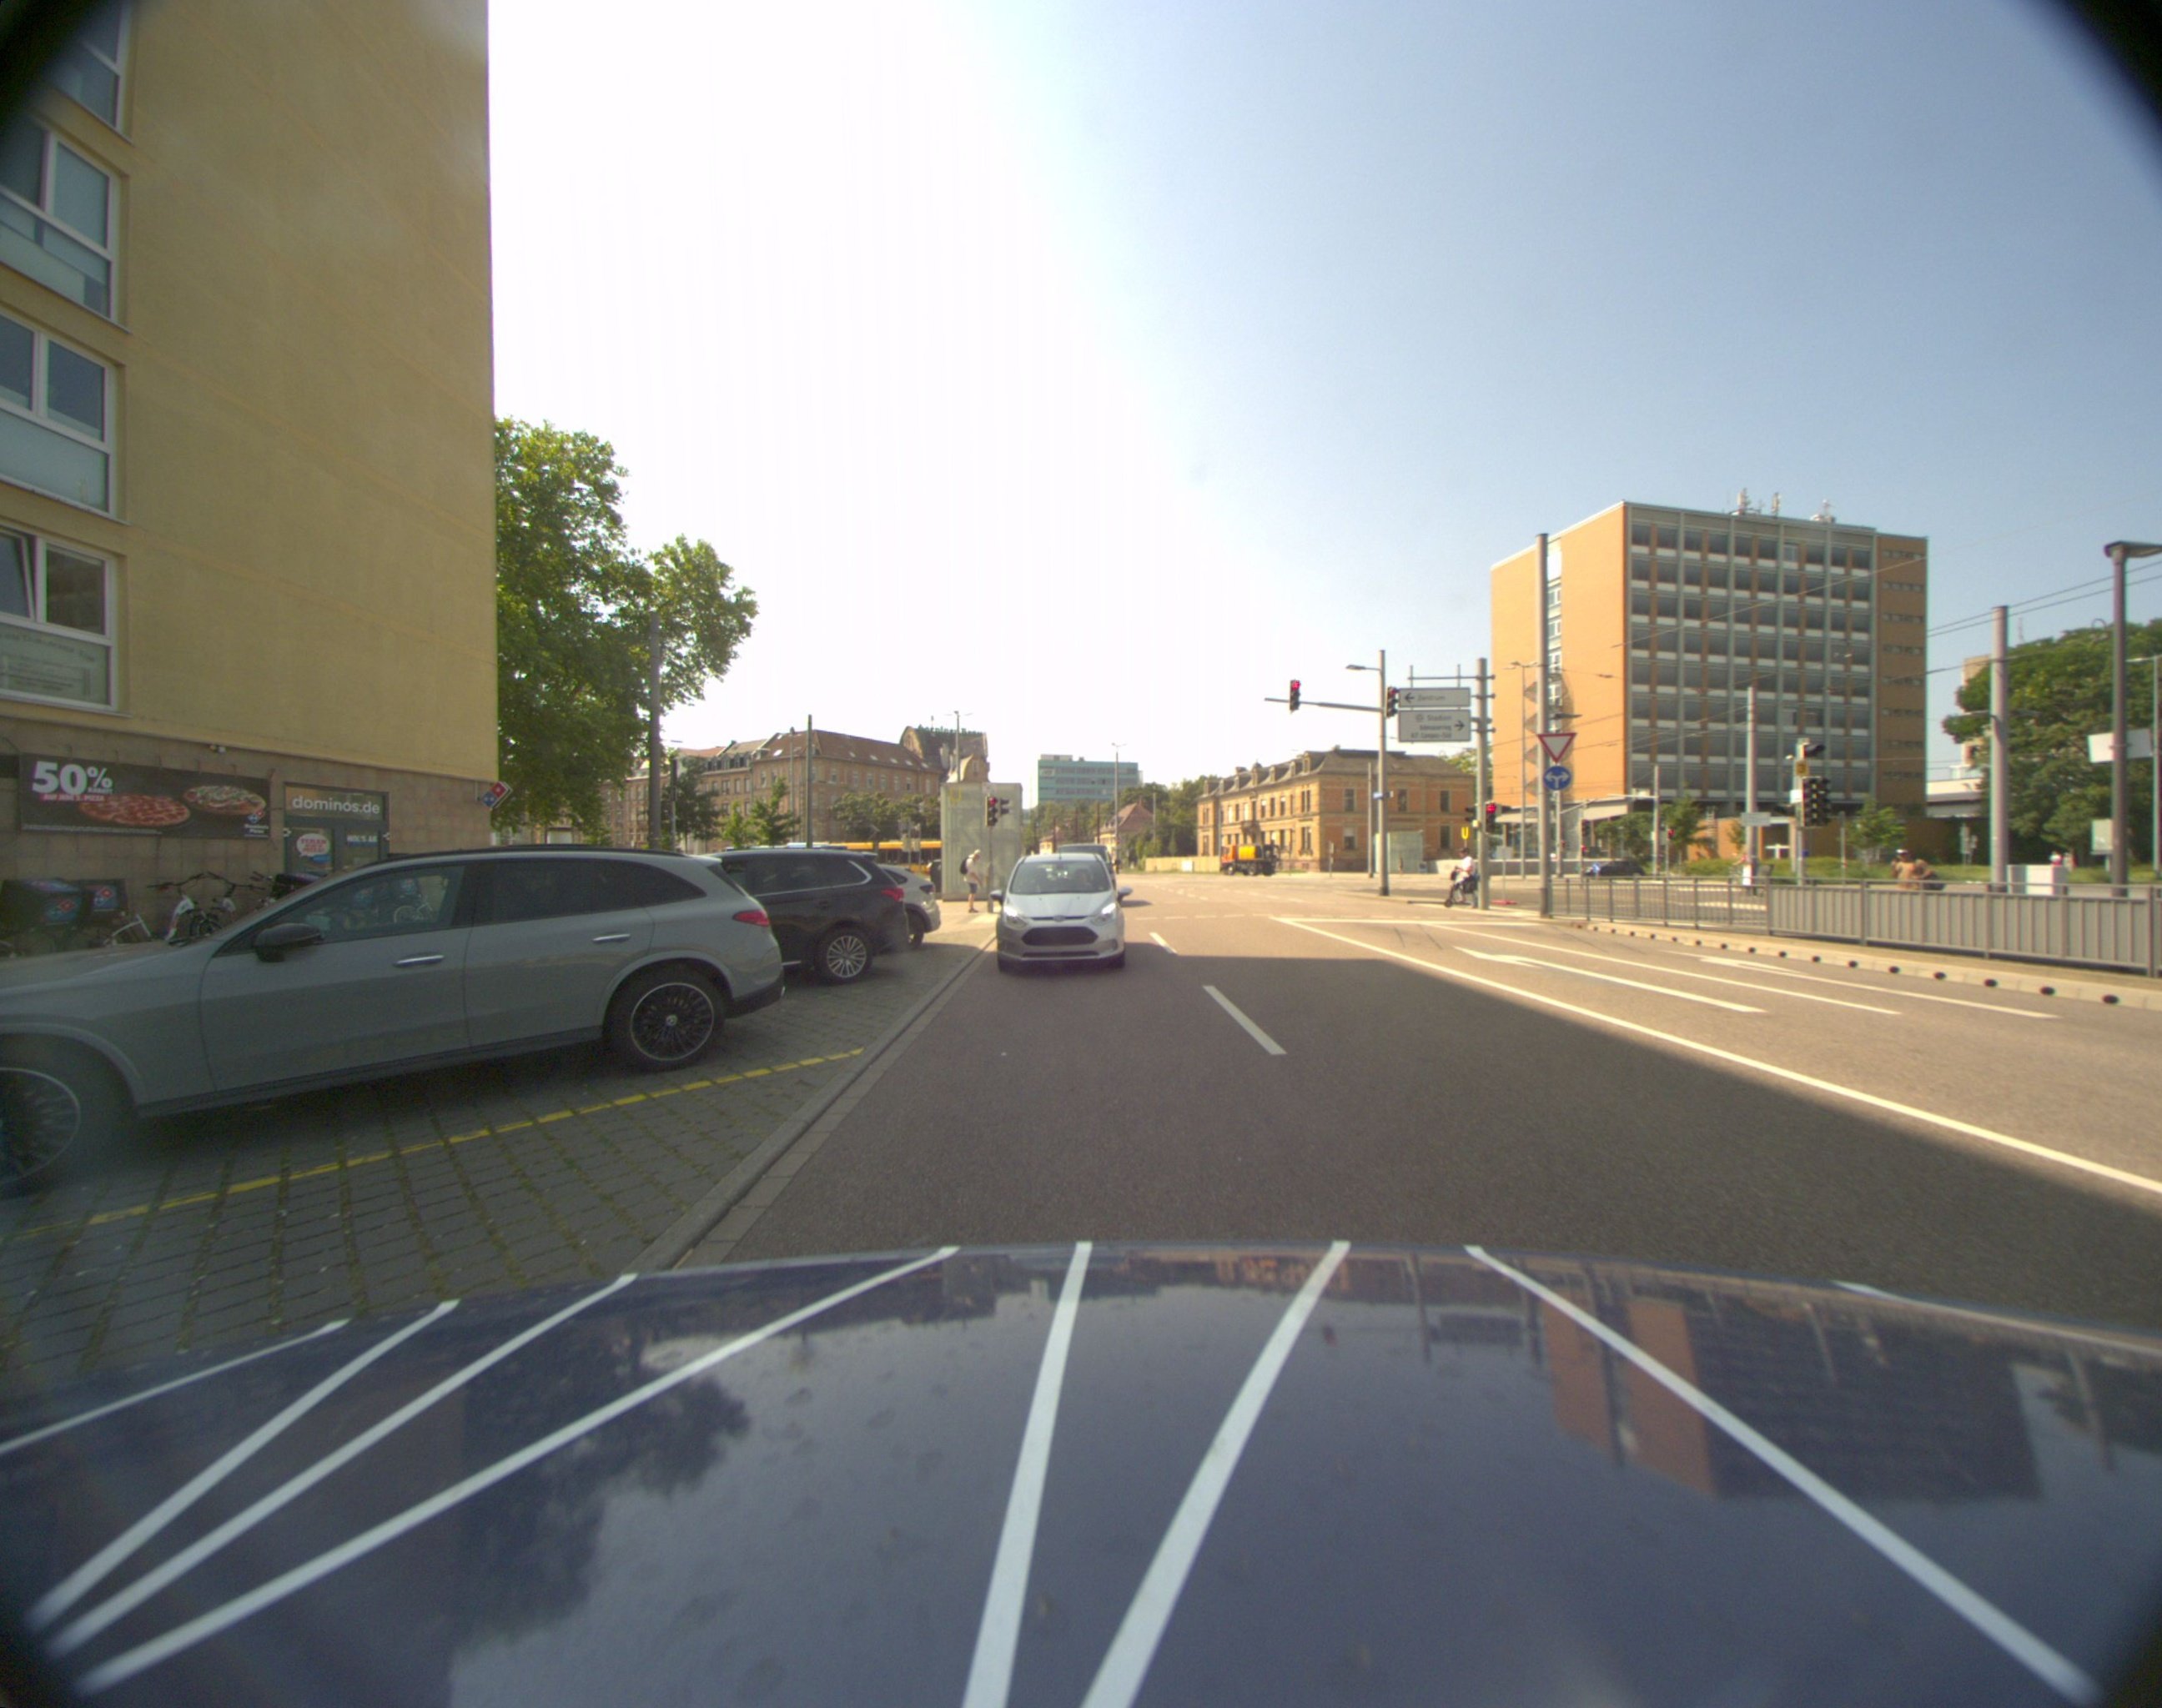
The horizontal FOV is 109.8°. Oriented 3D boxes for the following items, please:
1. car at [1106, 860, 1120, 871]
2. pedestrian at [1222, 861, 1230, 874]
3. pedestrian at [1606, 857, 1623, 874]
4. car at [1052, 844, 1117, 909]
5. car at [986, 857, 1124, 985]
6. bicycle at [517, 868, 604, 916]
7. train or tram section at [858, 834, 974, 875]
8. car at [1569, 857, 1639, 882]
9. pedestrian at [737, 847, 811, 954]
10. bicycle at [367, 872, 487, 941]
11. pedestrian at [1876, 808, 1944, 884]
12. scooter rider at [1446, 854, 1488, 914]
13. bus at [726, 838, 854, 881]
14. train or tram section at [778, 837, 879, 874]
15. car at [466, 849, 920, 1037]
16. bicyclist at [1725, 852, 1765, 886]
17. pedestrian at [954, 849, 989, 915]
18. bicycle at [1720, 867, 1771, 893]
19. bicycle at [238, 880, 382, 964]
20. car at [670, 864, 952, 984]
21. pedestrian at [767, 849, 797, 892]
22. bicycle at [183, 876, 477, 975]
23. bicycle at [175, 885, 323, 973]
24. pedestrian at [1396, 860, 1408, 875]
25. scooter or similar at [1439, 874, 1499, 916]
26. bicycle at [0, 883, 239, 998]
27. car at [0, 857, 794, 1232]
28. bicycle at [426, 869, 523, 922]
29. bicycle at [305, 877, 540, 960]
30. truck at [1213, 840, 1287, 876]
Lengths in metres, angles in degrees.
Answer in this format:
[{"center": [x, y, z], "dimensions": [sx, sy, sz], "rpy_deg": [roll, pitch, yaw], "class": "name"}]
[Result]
[{"center": [5.708, 2.096, 136.074], "dimensions": [2.000, 2.001, 3.999], "rpy_deg": [0, -2, -6], "class": "car"}, {"center": [15.344, 1.454, 80.591], "dimensions": [0.815, 1.343, 0.720], "rpy_deg": [0, 0, 7], "class": "pedestrian"}, {"center": [44.101, 0.967, 62.789], "dimensions": [0.847, 1.386, 0.787], "rpy_deg": [0, 0, 2], "class": "pedestrian"}, {"center": [0.148, 0.677, 24.768], "dimensions": [1.899, 1.919, 4.886], "rpy_deg": [0, 0, 1], "class": "car"}, {"center": [-0.283, 0.839, 11.558], "dimensions": [1.691, 1.585, 4.361], "rpy_deg": [0, 0, 1], "class": "car"}, {"center": [-14.614, 1.032, 21.441], "dimensions": [0.794, 1.231, 2.435], "rpy_deg": [0, 0, 0], "class": "bicycle"}, {"center": [-15.638, 0.079, 71.331], "dimensions": [12.183, 3.539, 2.601], "rpy_deg": [0, 0, 32], "class": "train or tram section"}, {"center": [39.885, 1.219, 58.047], "dimensions": [3.991, 1.782, 2.004], "rpy_deg": [-1, -2, 19], "class": "car"}, {"center": [-5.181, 0.748, 12.791], "dimensions": [1.039, 1.694, 0.902], "rpy_deg": [-2, 0, -27], "class": "pedestrian"}, {"center": [-12.972, 1.005, 15.159], "dimensions": [0.730, 1.239, 1.960], "rpy_deg": [0, 0, -1], "class": "bicycle"}, {"center": [18.361, -0.156, 16.846], "dimensions": [0.574, 1.648, 0.800], "rpy_deg": [0, -2, -18], "class": "pedestrian"}, {"center": [10.929, 0.834, 21.540], "dimensions": [0.773, 1.663, 0.779], "rpy_deg": [0, 0, -4], "class": "scooter rider"}, {"center": [-22.641, 0.473, 58.695], "dimensions": [12.048, 3.046, 2.740], "rpy_deg": [-1, -1, 33], "class": "bus"}, {"center": [-25.986, 0.156, 77.752], "dimensions": [12.183, 3.539, 2.601], "rpy_deg": [0, 0, 32], "class": "train or tram section"}, {"center": [-4.366, 0.798, 8.976], "dimensions": [4.402, 1.677, 1.981], "rpy_deg": [0, 0, -42], "class": "car"}, {"center": [28.624, 0.639, 32.765], "dimensions": [0.877, 1.451, 0.980], "rpy_deg": [0, 0, 3], "class": "bicyclist"}, {"center": [-3.055, 0.771, 21.282], "dimensions": [0.821, 1.797, 0.814], "rpy_deg": [-2, 0, 0], "class": "pedestrian"}, {"center": [28.641, 1.102, 32.797], "dimensions": [0.614, 1.063, 1.913], "rpy_deg": [0, 0, 3], "class": "bicycle"}, {"center": [-12.460, 1.058, 12.328], "dimensions": [0.590, 1.231, 1.548], "rpy_deg": [0, 0, 32], "class": "bicycle"}, {"center": [-4.205, 0.991, 12.126], "dimensions": [3.793, 1.491, 1.802], "rpy_deg": [-2, -1, -41], "class": "car"}, {"center": [-11.210, 0.608, 28.530], "dimensions": [0.793, 1.599, 0.949], "rpy_deg": [0, 1, -3], "class": "pedestrian"}, {"center": [-12.246, 1.105, 12.656], "dimensions": [3.370, 1.396, 0.902], "rpy_deg": [0, 0, -36], "class": "bicycle"}, {"center": [-13.139, 1.143, 12.088], "dimensions": [0.409, 1.231, 1.827], "rpy_deg": [0, 0, -3], "class": "bicycle"}, {"center": [30.037, 1.216, 71.063], "dimensions": [0.847, 1.386, 0.787], "rpy_deg": [0, 0, 2], "class": "pedestrian"}, {"center": [10.984, 1.150, 21.525], "dimensions": [1.341, 1.142, 0.709], "rpy_deg": [0, 0, -1], "class": "scooter or similar"}, {"center": [-12.646, 1.030, 9.746], "dimensions": [0.941, 1.231, 2.423], "rpy_deg": [0, 0, 3], "class": "bicycle"}, {"center": [-4.655, 0.885, 5.106], "dimensions": [4.675, 1.703, 2.038], "rpy_deg": [0, 0, -42], "class": "car"}, {"center": [-14.273, 0.972, 17.912], "dimensions": [1.727, 1.199, 0.589], "rpy_deg": [0, 0, -7], "class": "bicycle"}, {"center": [-12.577, 1.185, 14.752], "dimensions": [3.370, 1.396, 0.902], "rpy_deg": [0, 0, -36], "class": "bicycle"}, {"center": [16.444, 0.460, 74.340], "dimensions": [3.047, 3.209, 7.176], "rpy_deg": [1, -2, -29], "class": "truck"}]
